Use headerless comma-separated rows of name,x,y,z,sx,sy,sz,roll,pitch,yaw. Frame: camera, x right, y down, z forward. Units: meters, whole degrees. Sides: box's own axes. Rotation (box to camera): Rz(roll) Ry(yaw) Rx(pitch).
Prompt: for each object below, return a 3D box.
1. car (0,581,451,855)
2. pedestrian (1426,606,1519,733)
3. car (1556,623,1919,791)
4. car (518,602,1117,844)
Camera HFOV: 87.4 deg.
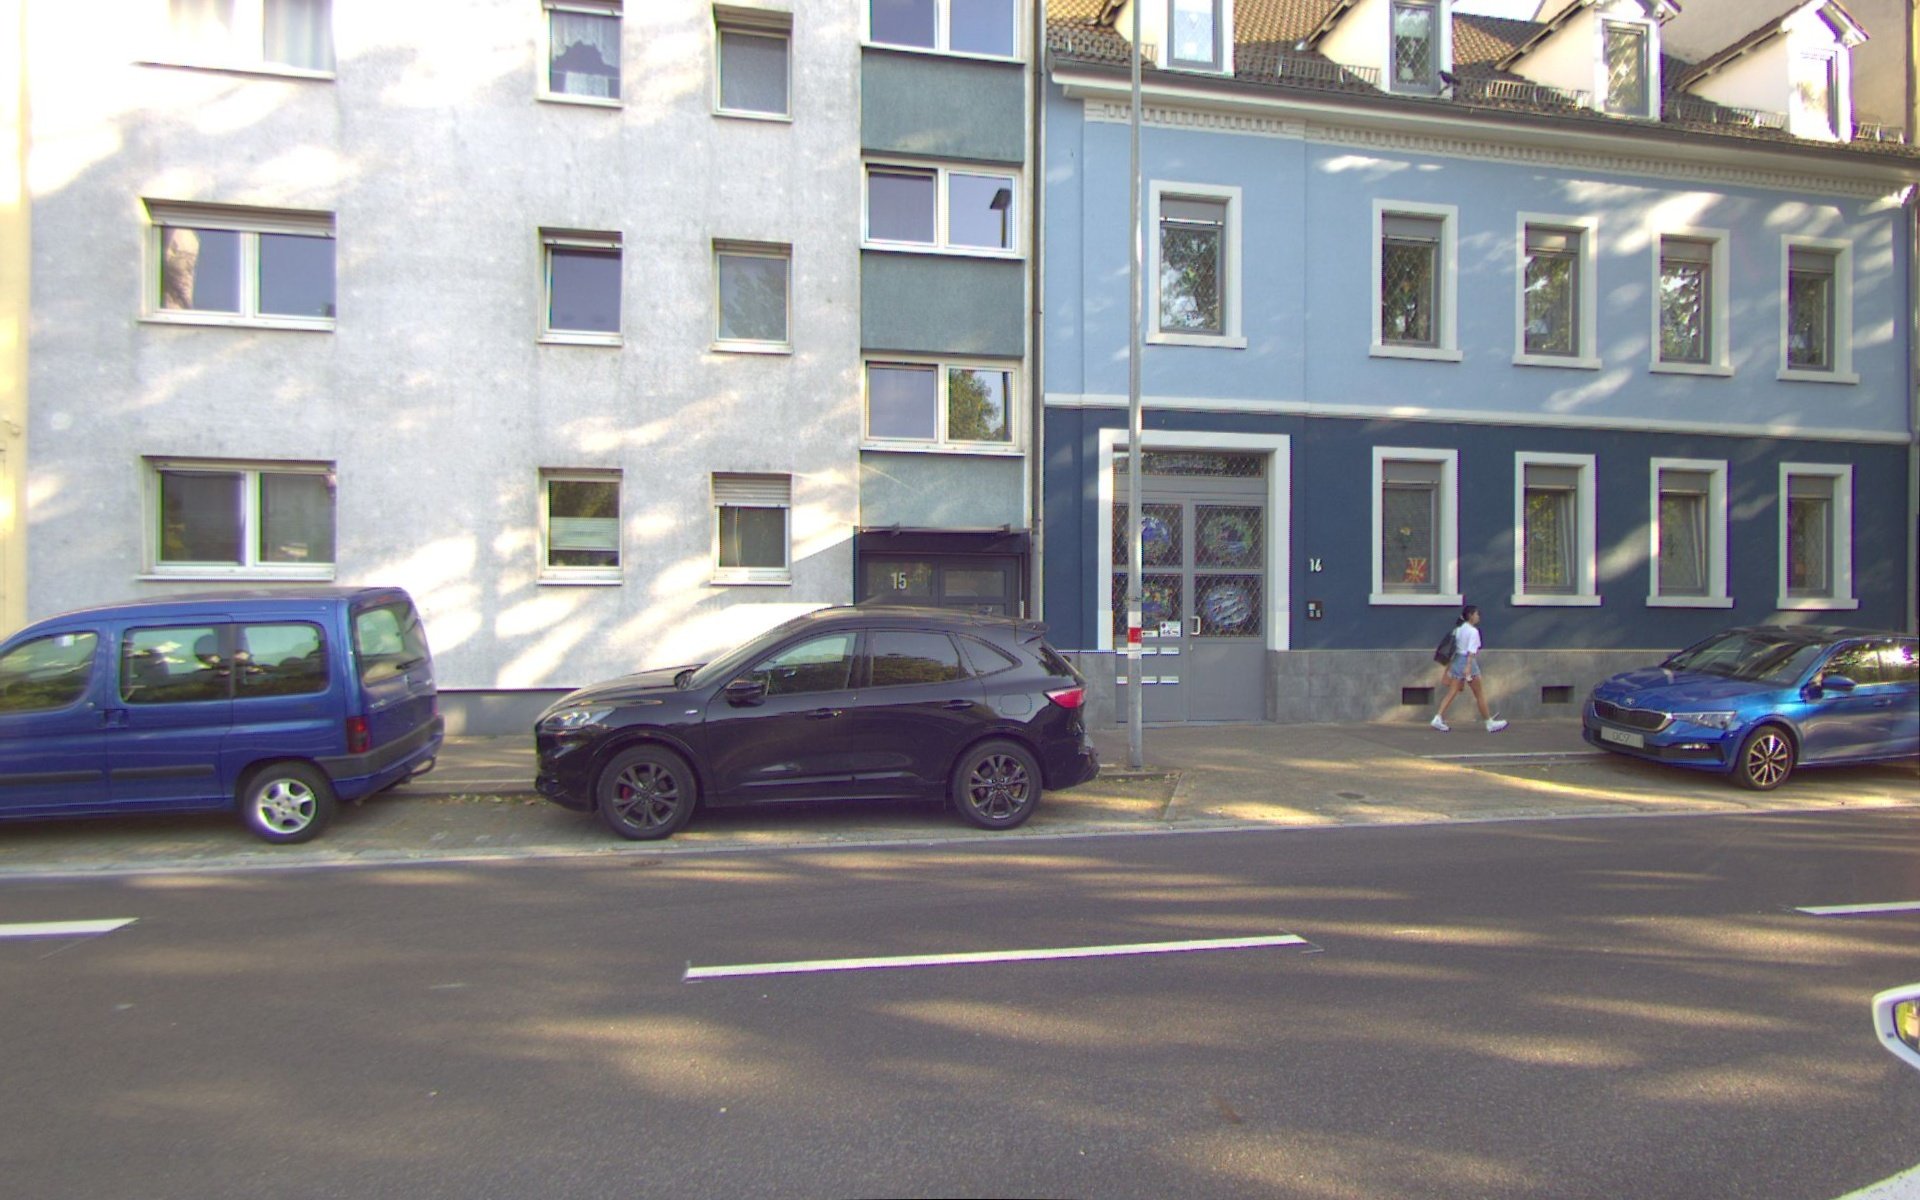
car,-6.281,0.791,7.663,3.932,1.843,1.667,0,1,-9
pedestrian,6.559,0.871,12.893,0.848,1.591,0.706,0,0,2
car,8.745,1.030,10.640,4.188,1.507,1.651,0,1,-12
car,-1.092,0.897,8.426,4.409,1.695,1.910,0,1,-7
